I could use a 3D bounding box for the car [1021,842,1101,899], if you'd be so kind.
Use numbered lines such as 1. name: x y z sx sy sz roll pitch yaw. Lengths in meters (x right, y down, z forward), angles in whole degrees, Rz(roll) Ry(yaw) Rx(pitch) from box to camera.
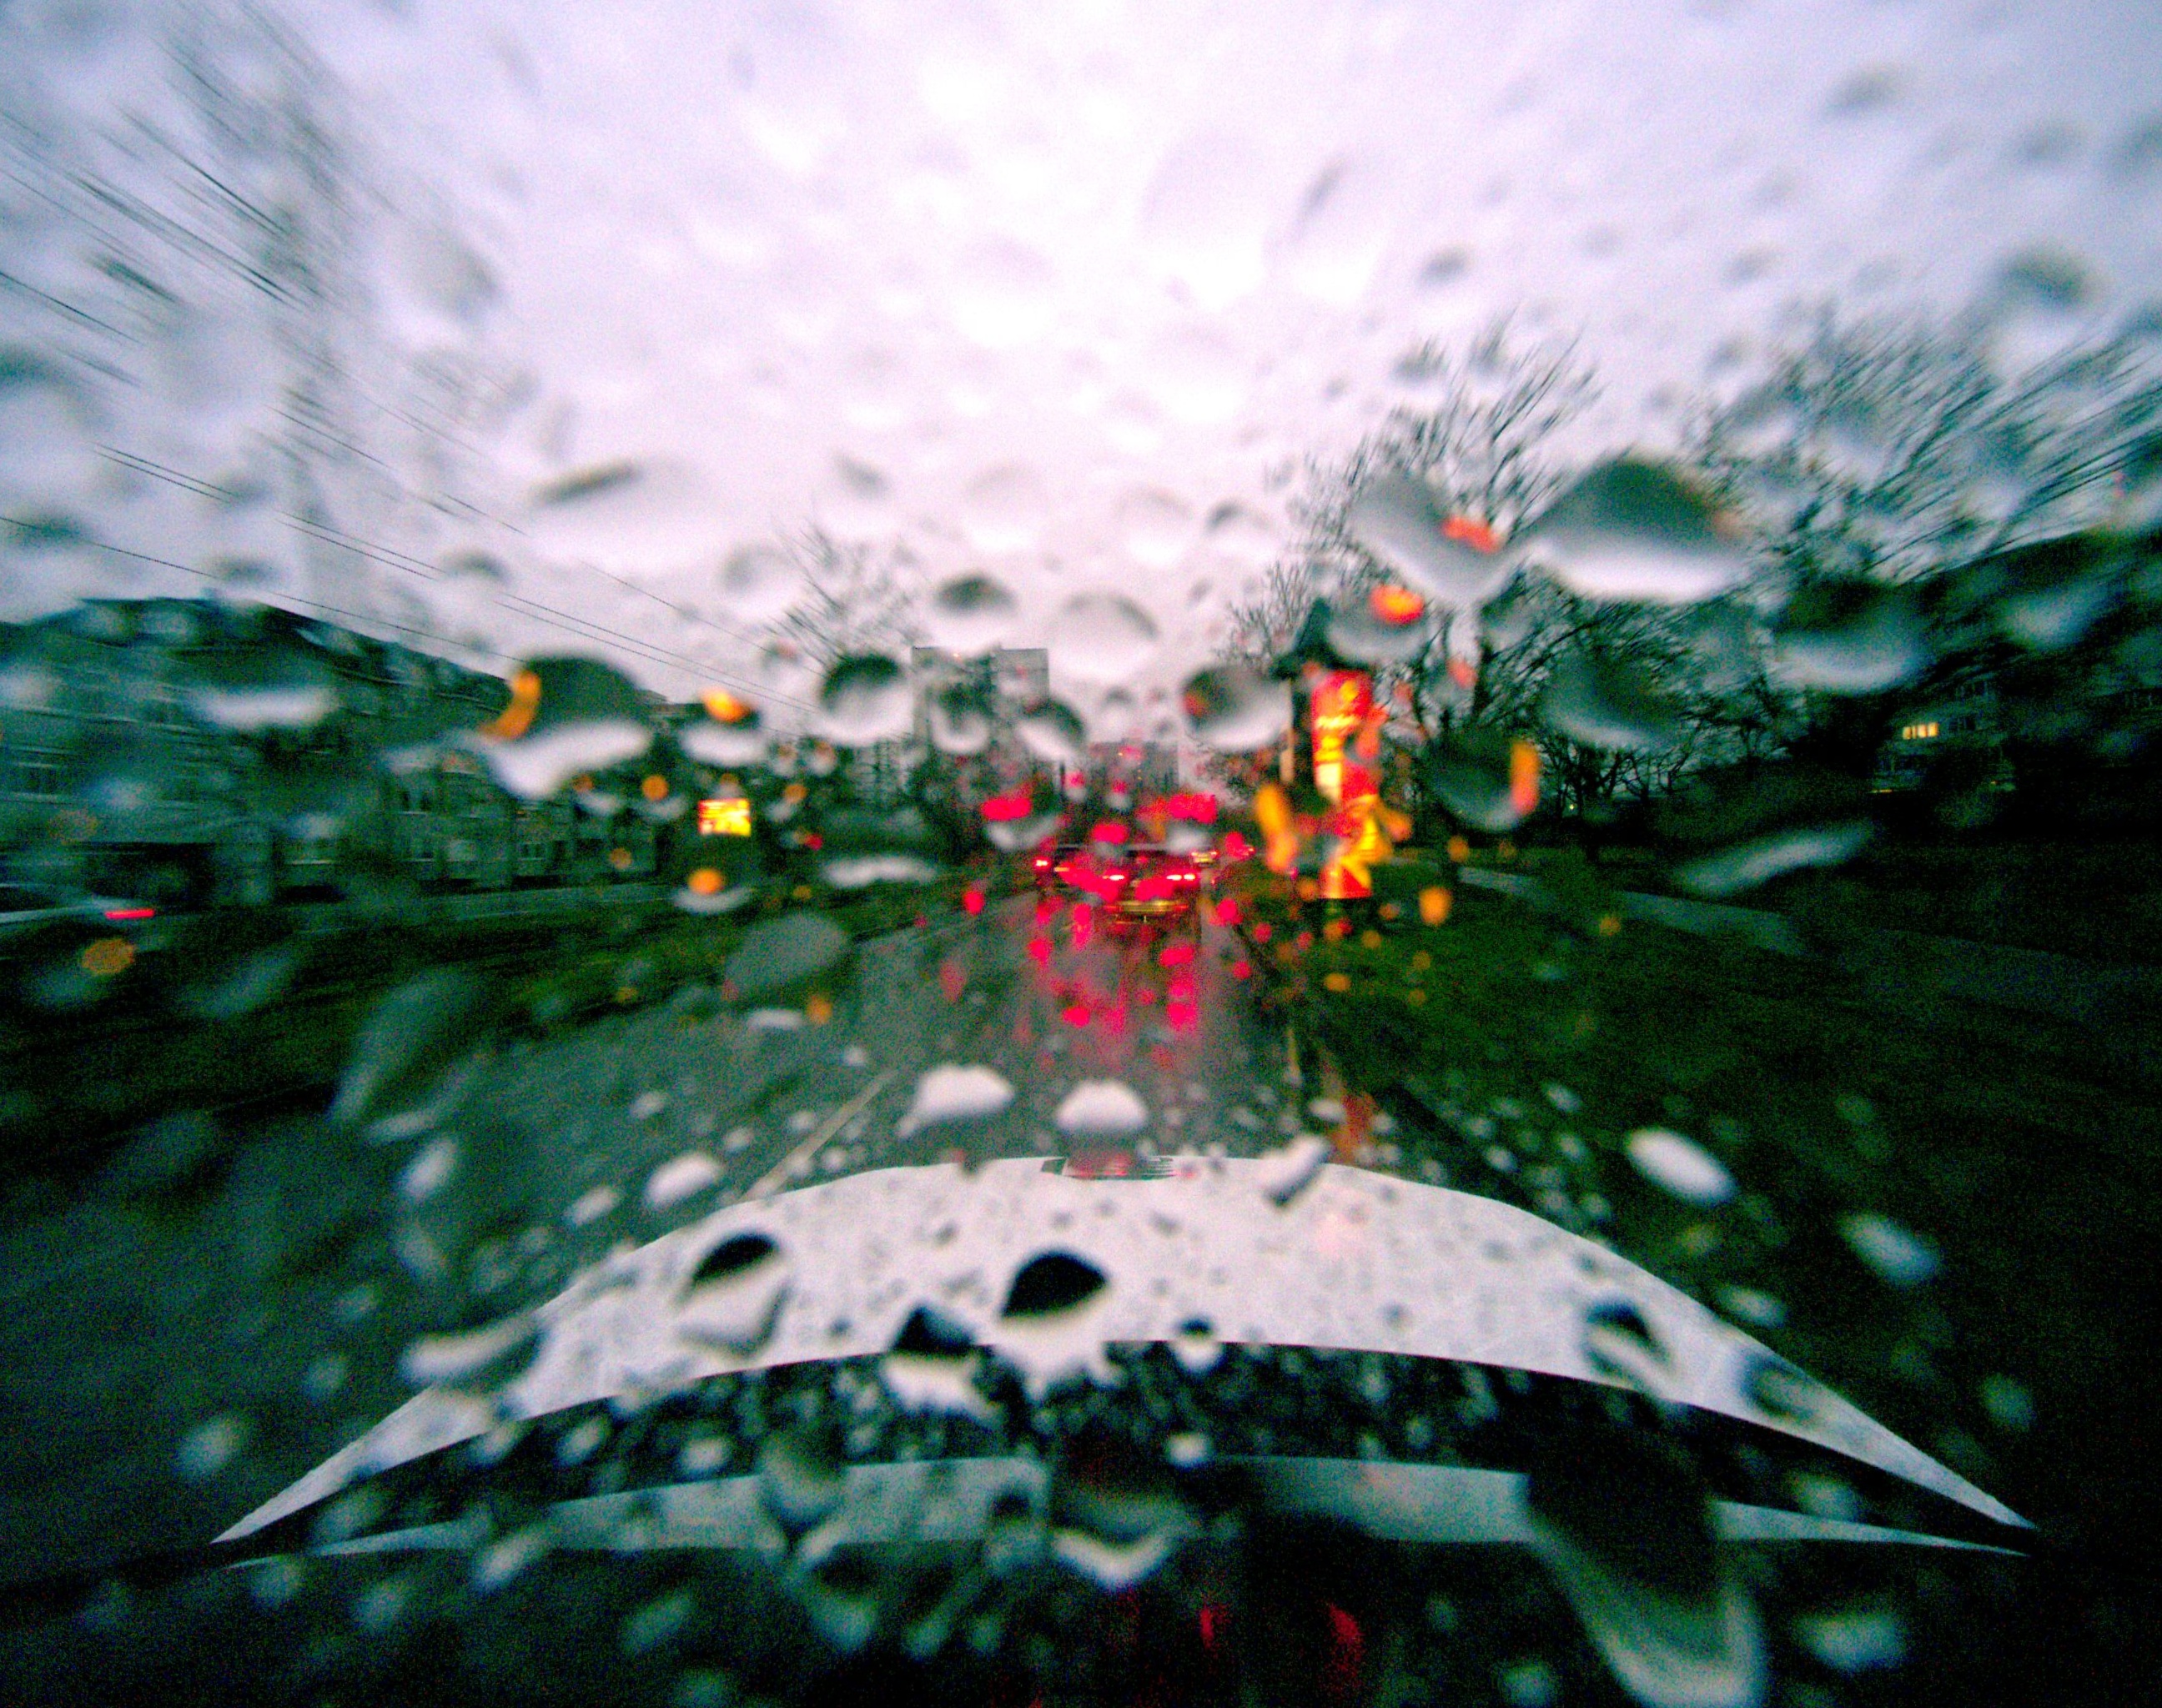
1. car: -0.562 0.549 27.008 1.982 1.712 4.333 -1 -1 8

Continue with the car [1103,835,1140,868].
1. car: 2.327 -0.135 45.780 1.817 1.739 3.813 -1 0 7

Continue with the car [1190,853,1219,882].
1. car: 8.320 0.903 55.210 1.846 1.892 4.008 -1 -1 7

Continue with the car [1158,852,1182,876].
1. car: 7.247 0.800 66.052 1.762 1.892 3.650 -1 -1 7

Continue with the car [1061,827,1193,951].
1. car: 1.003 0.591 15.148 1.981 1.976 4.079 -1 -1 9

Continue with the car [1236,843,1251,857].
1. car: 19.288 -0.445 96.479 1.526 1.513 3.350 -1 -1 8

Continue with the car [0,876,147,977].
1. car: -17.340 1.122 12.003 1.584 1.529 4.928 0 -1 -3
